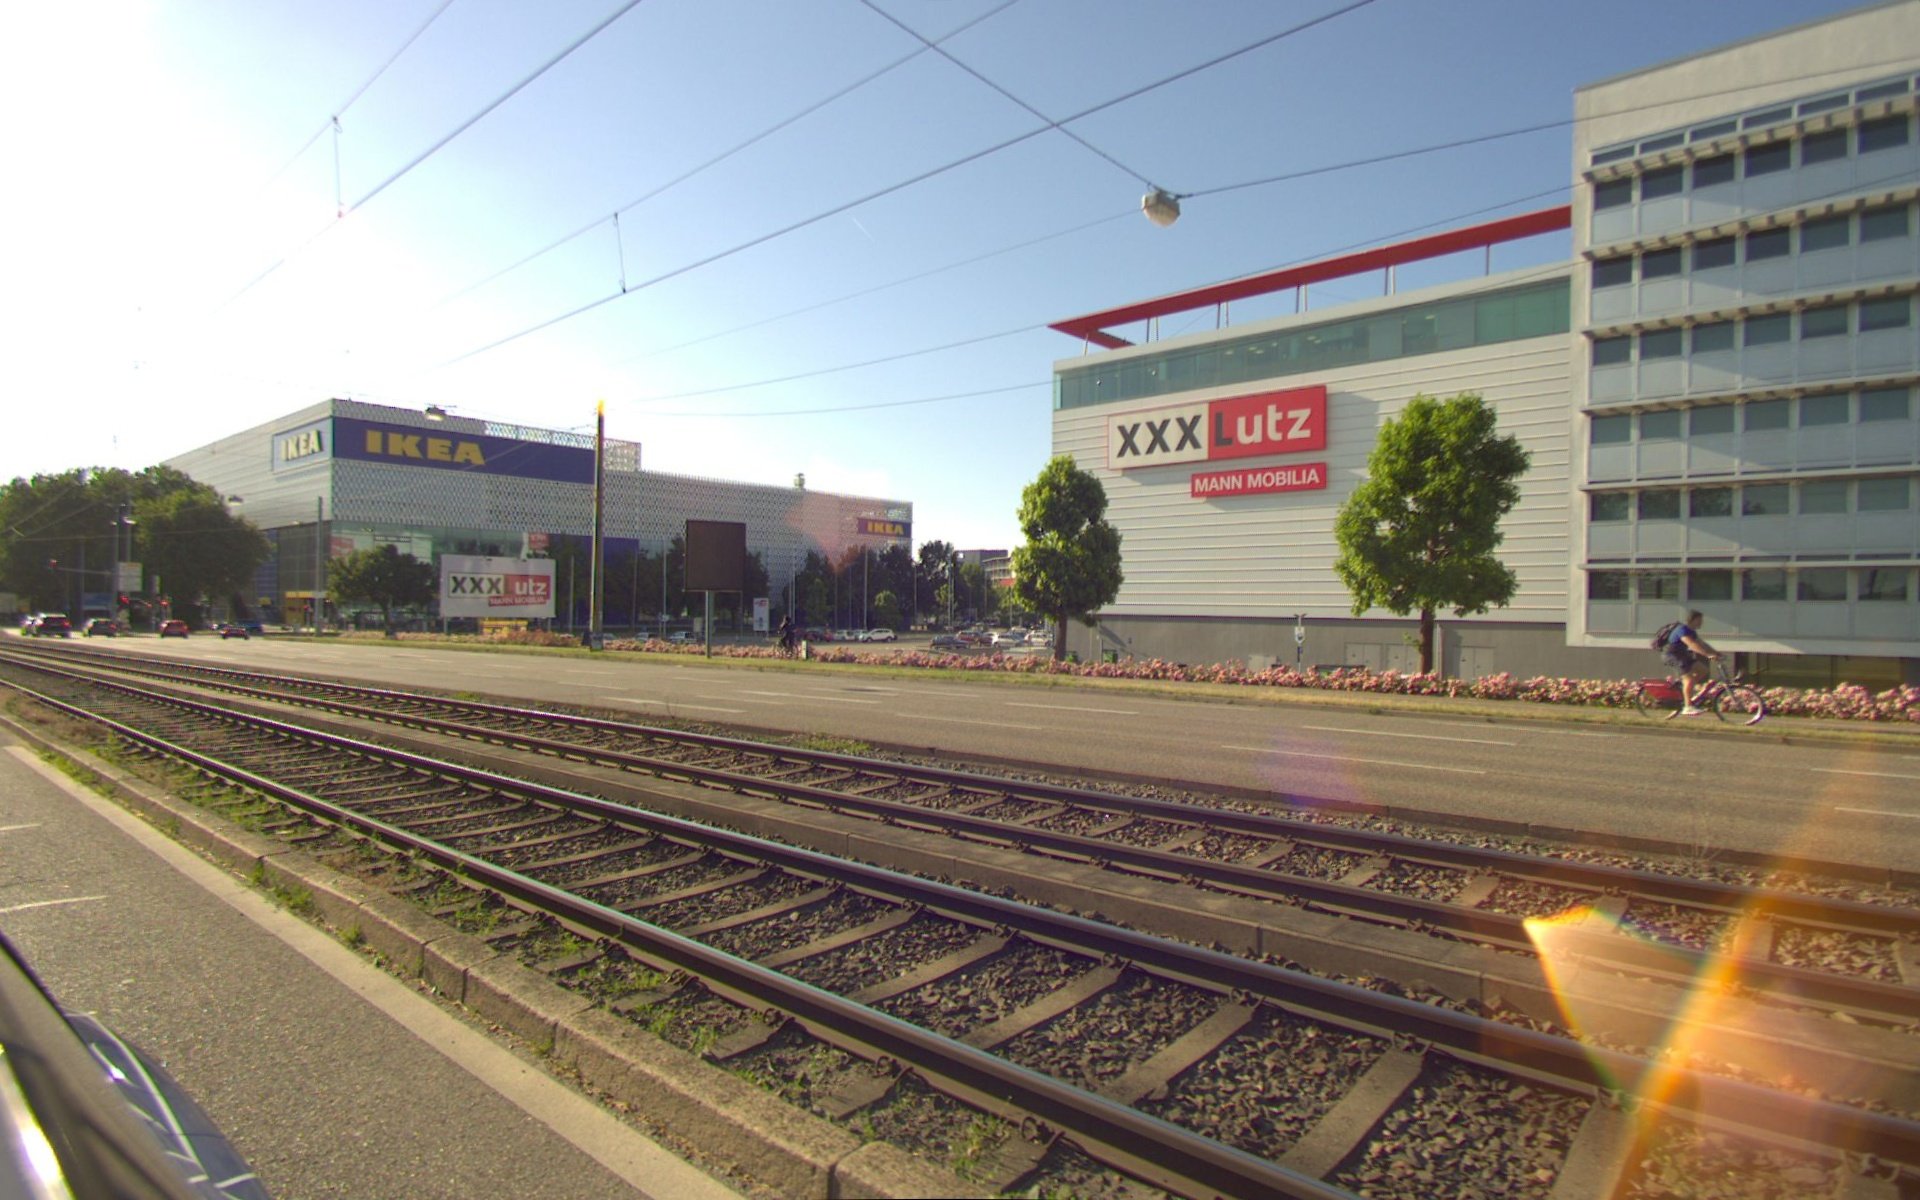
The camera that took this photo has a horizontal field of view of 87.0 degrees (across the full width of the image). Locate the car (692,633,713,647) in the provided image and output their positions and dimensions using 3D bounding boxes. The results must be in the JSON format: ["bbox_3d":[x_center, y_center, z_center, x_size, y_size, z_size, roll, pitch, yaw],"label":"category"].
[{"bbox_3d":[-34.014,5.244,133.438,1.876,1.580,4.262,-2,1,-25],"label":"car"}]

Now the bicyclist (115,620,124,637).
[{"bbox_3d":[-75.462,2.538,90.859,0.751,1.534,0.581,-1,-1,42],"label":"bicyclist"}]

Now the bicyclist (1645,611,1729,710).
[{"bbox_3d":[11.814,0.953,16.454,0.696,1.523,0.971,-2,1,-43],"label":"bicyclist"}]

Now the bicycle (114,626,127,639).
[{"bbox_3d":[-75.269,2.923,90.735,1.991,1.176,0.581,-1,-1,42],"label":"bicycle"}]

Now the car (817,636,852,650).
[{"bbox_3d":[-15.901,5.397,127.878,4.431,1.563,1.652,-1,1,37],"label":"car"}]

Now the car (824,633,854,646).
[{"bbox_3d":[-16.067,5.211,134.297,3.998,1.668,1.705,-1,-2,42],"label":"car"}]

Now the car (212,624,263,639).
[{"bbox_3d":[-78.284,3.396,109.654,4.194,1.509,2.017,4,-3,-44],"label":"car"}]

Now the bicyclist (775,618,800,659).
[{"bbox_3d":[-6.986,1.549,40.937,0.653,1.635,0.802,-2,1,-40],"label":"bicyclist"}]

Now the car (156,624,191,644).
[{"bbox_3d":[-63.200,2.696,81.322,1.911,1.488,4.138,4,-3,-41],"label":"car"}]

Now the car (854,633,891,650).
[{"bbox_3d":[-10.776,5.087,125.147,4.157,1.813,1.832,-2,1,-29],"label":"car"}]

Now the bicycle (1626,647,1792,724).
[{"bbox_3d":[11.999,1.337,16.265,0.696,1.081,2.029,-2,1,-43],"label":"bicycle"}]

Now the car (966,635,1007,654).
[{"bbox_3d":[2.831,4.710,108.214,3.997,1.827,1.974,-1,1,40],"label":"car"}]

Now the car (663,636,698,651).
[{"bbox_3d":[-32.171,5.031,116.449,3.993,1.605,1.912,-1,1,37],"label":"car"}]

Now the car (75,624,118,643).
[{"bbox_3d":[-66.892,2.573,78.402,4.133,1.472,1.838,-1,-2,39],"label":"car"}]

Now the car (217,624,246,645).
[{"bbox_3d":[-60.167,2.830,83.656,1.796,1.655,4.010,2,-3,-35],"label":"car"}]

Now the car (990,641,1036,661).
[{"bbox_3d":[5.025,4.861,96.042,3.997,1.715,1.902,-1,1,40],"label":"car"}]

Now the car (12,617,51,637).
[{"bbox_3d":[-70.525,2.046,76.851,4.106,1.459,1.764,-1,-3,41],"label":"car"}]

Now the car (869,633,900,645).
[{"bbox_3d":[-10.382,5.353,139.387,3.998,1.668,1.972,-1,-2,42],"label":"car"}]

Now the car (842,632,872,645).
[{"bbox_3d":[-13.909,5.206,136.092,3.998,1.668,1.777,-1,-2,42],"label":"car"}]

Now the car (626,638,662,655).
[{"bbox_3d":[-35.212,5.179,112.765,3.993,1.758,1.912,-1,1,37],"label":"car"}]

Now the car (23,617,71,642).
[{"bbox_3d":[-64.897,2.102,71.897,4.657,1.668,1.972,-1,-3,42],"label":"car"}]

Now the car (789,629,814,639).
[{"bbox_3d":[-24.545,5.318,156.834,1.769,1.471,3.538,0,-3,39],"label":"car"}]

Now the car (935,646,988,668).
[{"bbox_3d":[0.076,4.937,88.762,4.445,1.715,1.902,-1,1,40],"label":"car"}]

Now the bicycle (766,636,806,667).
[{"bbox_3d":[-7.066,2.058,41.055,0.653,1.159,2.025,-2,1,-40],"label":"bicycle"}]
